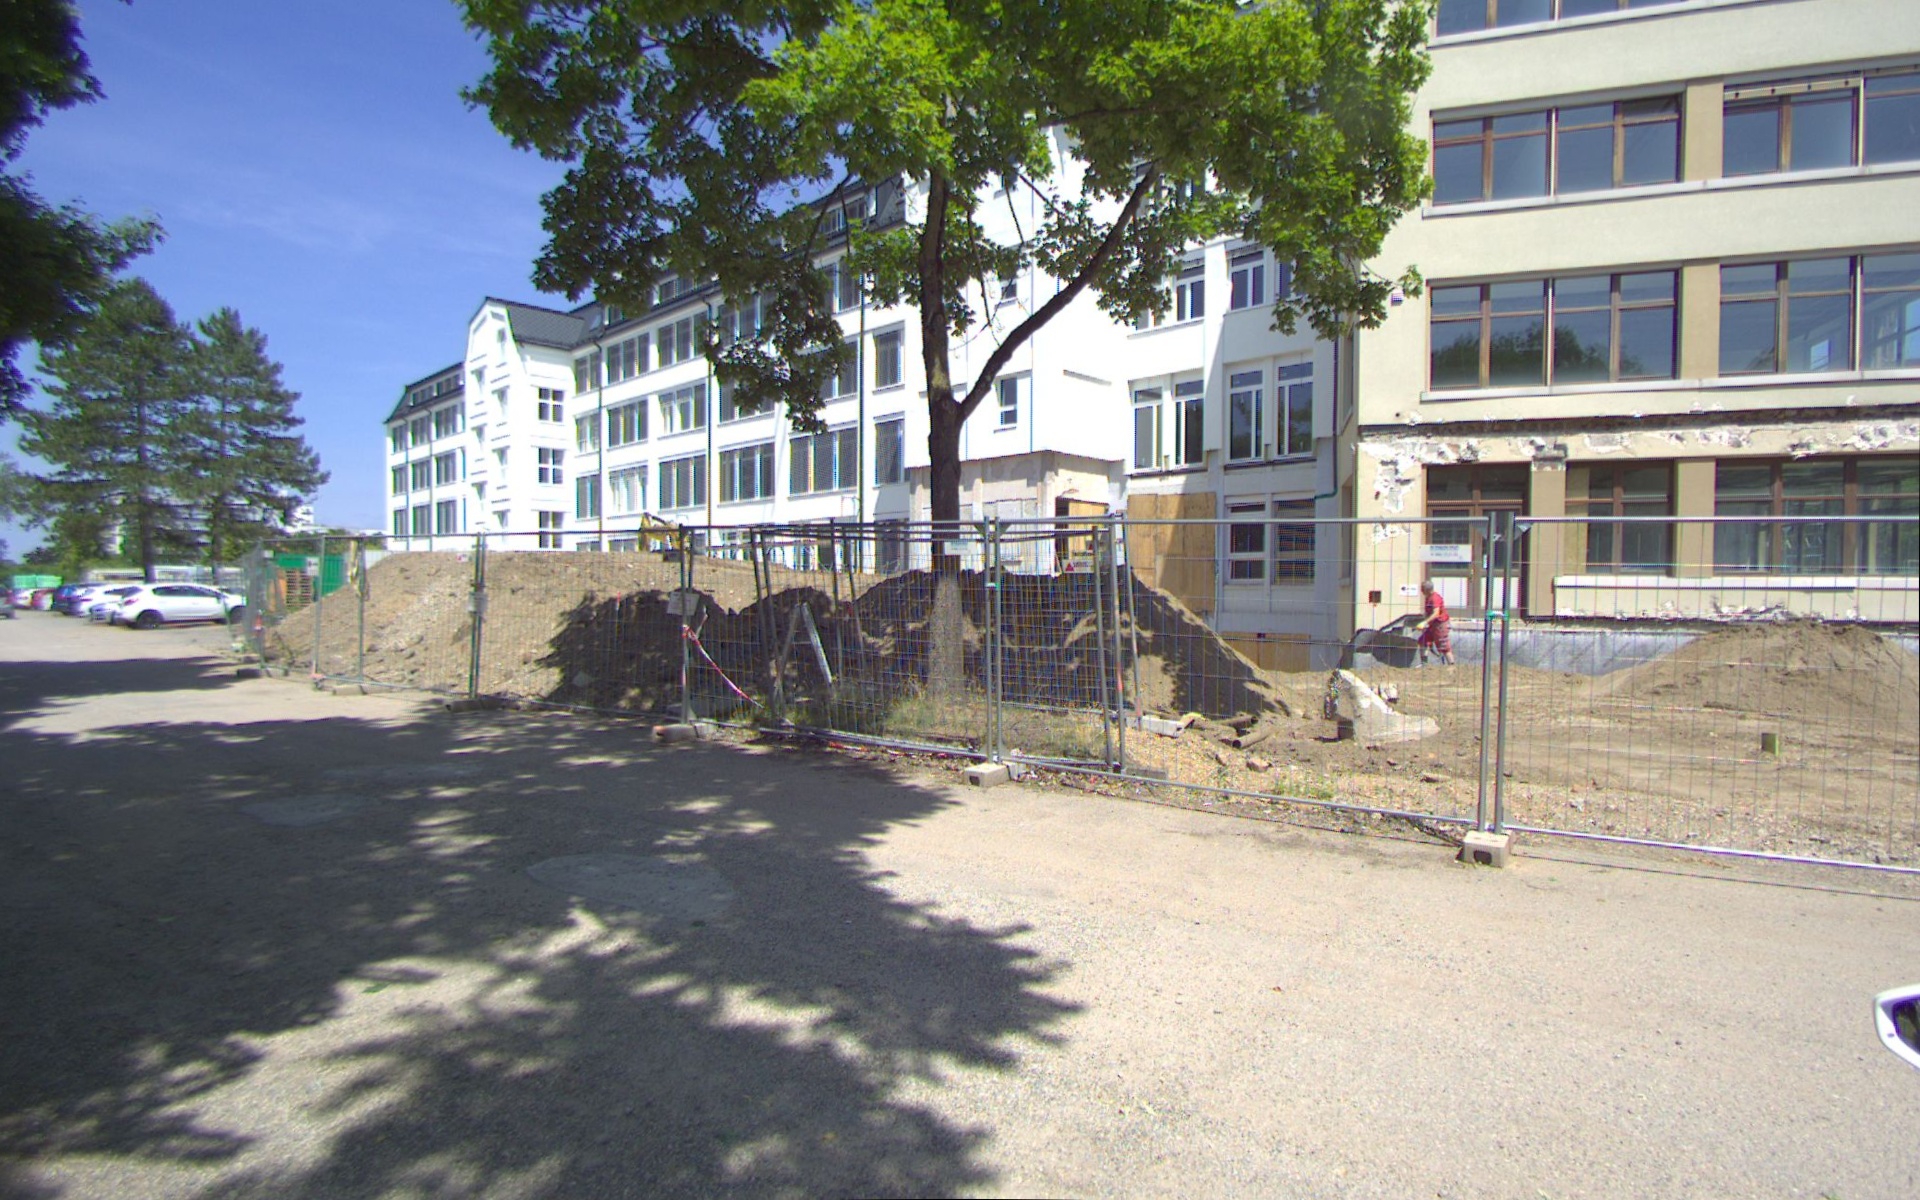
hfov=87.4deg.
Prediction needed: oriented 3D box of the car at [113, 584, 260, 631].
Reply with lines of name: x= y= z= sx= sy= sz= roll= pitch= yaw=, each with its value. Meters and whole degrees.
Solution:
car: x=-26.179 y=0.245 z=34.099 sx=1.431 sy=1.514 sz=3.710 roll=1 pitch=0 yaw=38

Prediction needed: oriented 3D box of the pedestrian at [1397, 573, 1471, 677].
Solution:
pedestrian: x=8.818 y=0.457 z=18.715 sx=0.966 sy=1.871 sz=0.917 roll=1 pitch=0 yaw=5

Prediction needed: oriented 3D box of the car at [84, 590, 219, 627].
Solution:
car: x=-30.150 y=0.320 z=37.525 sx=1.431 sy=1.295 sz=3.710 roll=1 pitch=0 yaw=38

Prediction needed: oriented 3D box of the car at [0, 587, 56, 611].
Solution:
car: x=-59.729 y=-0.050 z=63.440 sx=1.431 sy=1.514 sz=3.710 roll=1 pitch=0 yaw=38

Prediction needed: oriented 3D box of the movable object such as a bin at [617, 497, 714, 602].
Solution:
movable object such as a bin: x=-13.313 y=-2.148 z=45.193 sx=1.984 sy=4.430 sz=5.655 roll=1 pitch=0 yaw=-41

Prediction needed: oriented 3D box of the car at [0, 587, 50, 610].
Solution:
car: x=-65.570 y=-0.098 z=69.452 sx=1.431 sy=1.514 sz=3.710 roll=1 pitch=0 yaw=38

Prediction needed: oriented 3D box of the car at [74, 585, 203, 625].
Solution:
car: x=-32.069 y=0.193 z=39.289 sx=1.431 sy=1.514 sz=3.710 roll=1 pitch=0 yaw=38

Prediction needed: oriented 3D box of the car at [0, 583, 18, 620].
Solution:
car: x=-44.636 y=0.060 z=46.134 sx=3.870 sy=1.677 sz=1.800 roll=1 pitch=0 yaw=44

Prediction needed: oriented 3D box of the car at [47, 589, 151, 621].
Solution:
car: x=-42.720 y=0.266 z=49.914 sx=1.431 sy=1.514 sz=3.710 roll=1 pitch=0 yaw=38

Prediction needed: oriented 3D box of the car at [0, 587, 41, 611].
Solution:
car: x=-62.219 y=-0.073 z=65.096 sx=1.431 sy=1.514 sz=3.710 roll=1 pitch=0 yaw=38
